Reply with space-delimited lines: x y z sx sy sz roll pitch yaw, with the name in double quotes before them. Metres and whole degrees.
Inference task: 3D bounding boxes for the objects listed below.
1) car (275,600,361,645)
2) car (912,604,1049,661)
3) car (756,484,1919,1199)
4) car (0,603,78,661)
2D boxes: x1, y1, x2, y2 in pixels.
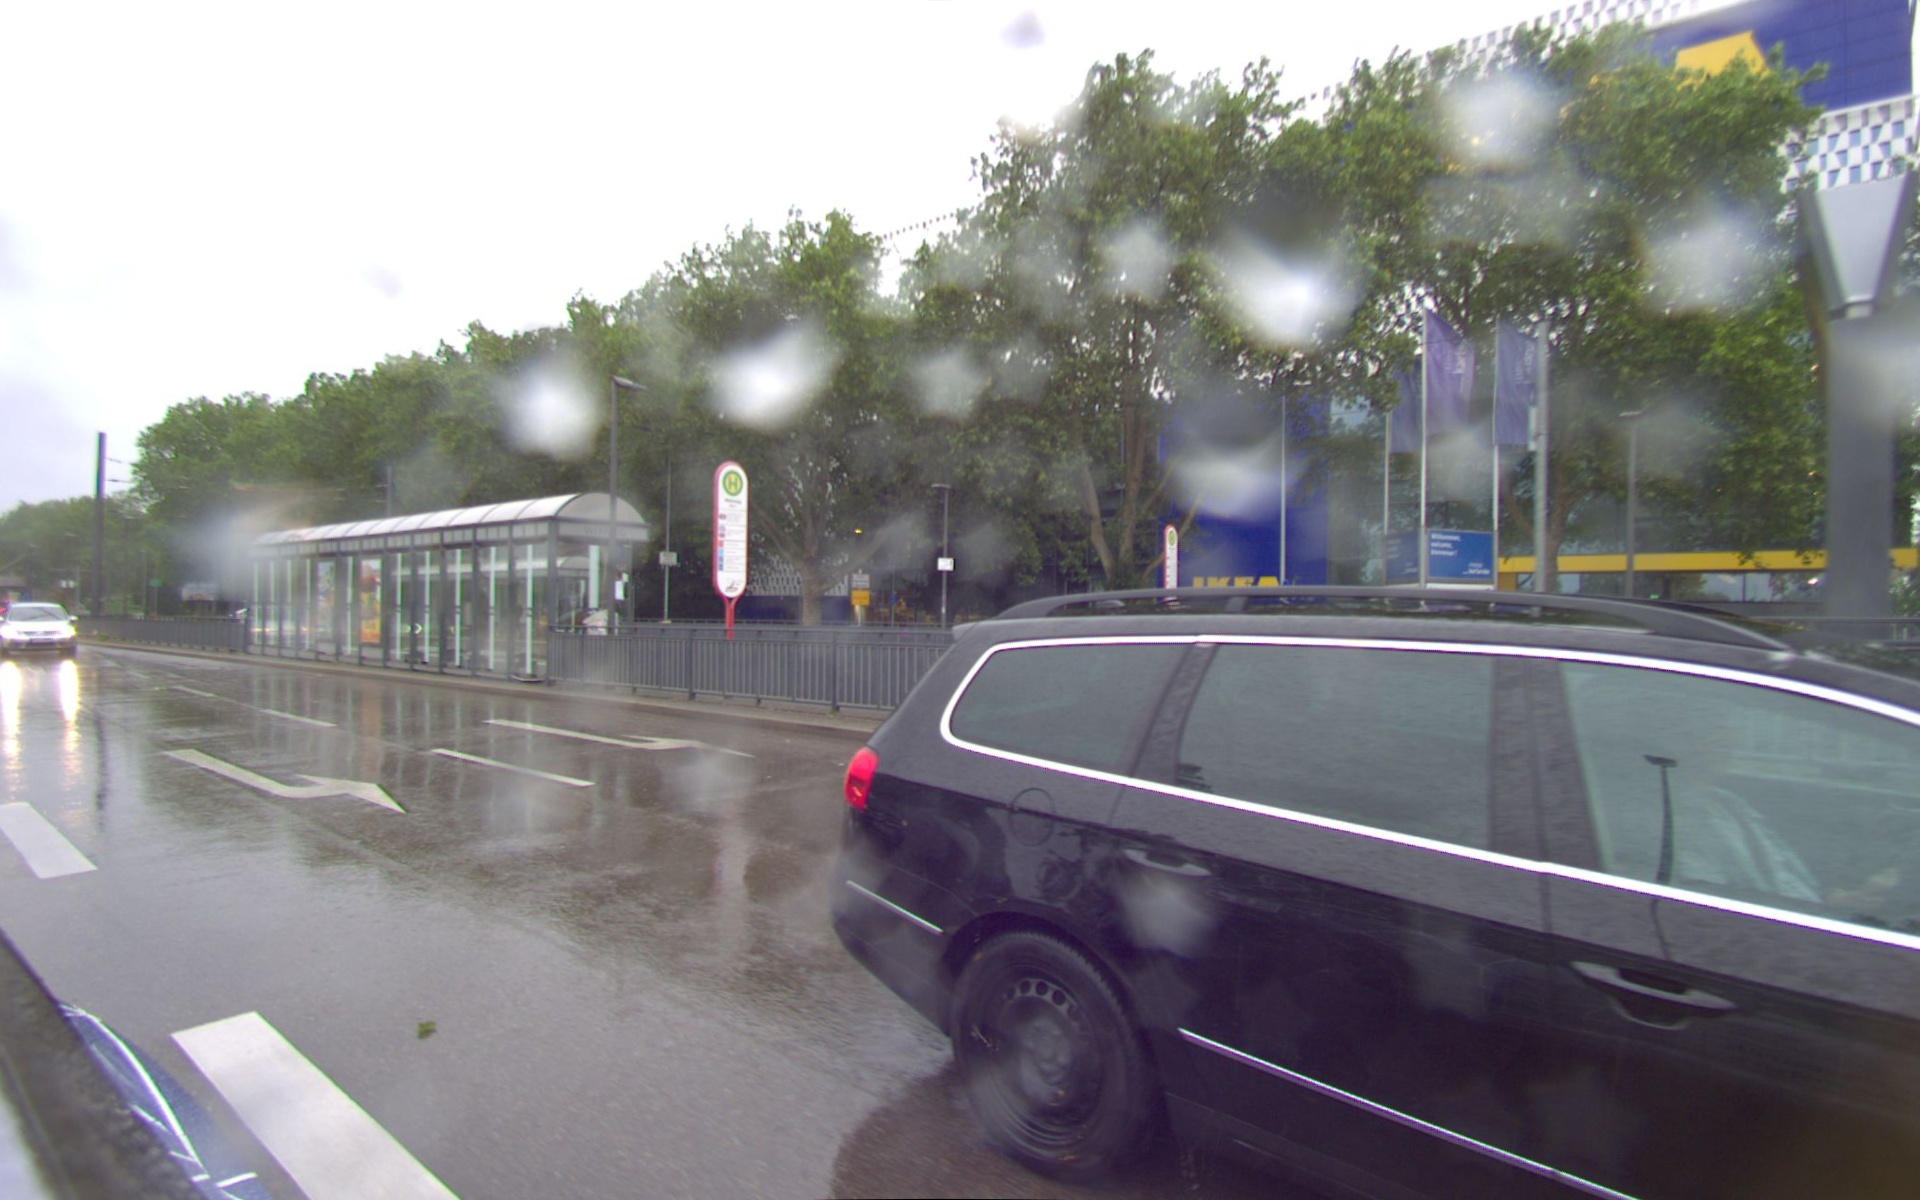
"car" -21.457 0.713 33.782 3.615 1.371 1.507 1 1 42
"car" 0.550 0.887 29.392 3.876 1.503 1.680 1 1 42
"car" 1.698 0.589 2.223 4.593 1.512 1.753 0 1 40
"car" -28.436 0.923 30.870 3.998 1.618 1.771 1 1 41
